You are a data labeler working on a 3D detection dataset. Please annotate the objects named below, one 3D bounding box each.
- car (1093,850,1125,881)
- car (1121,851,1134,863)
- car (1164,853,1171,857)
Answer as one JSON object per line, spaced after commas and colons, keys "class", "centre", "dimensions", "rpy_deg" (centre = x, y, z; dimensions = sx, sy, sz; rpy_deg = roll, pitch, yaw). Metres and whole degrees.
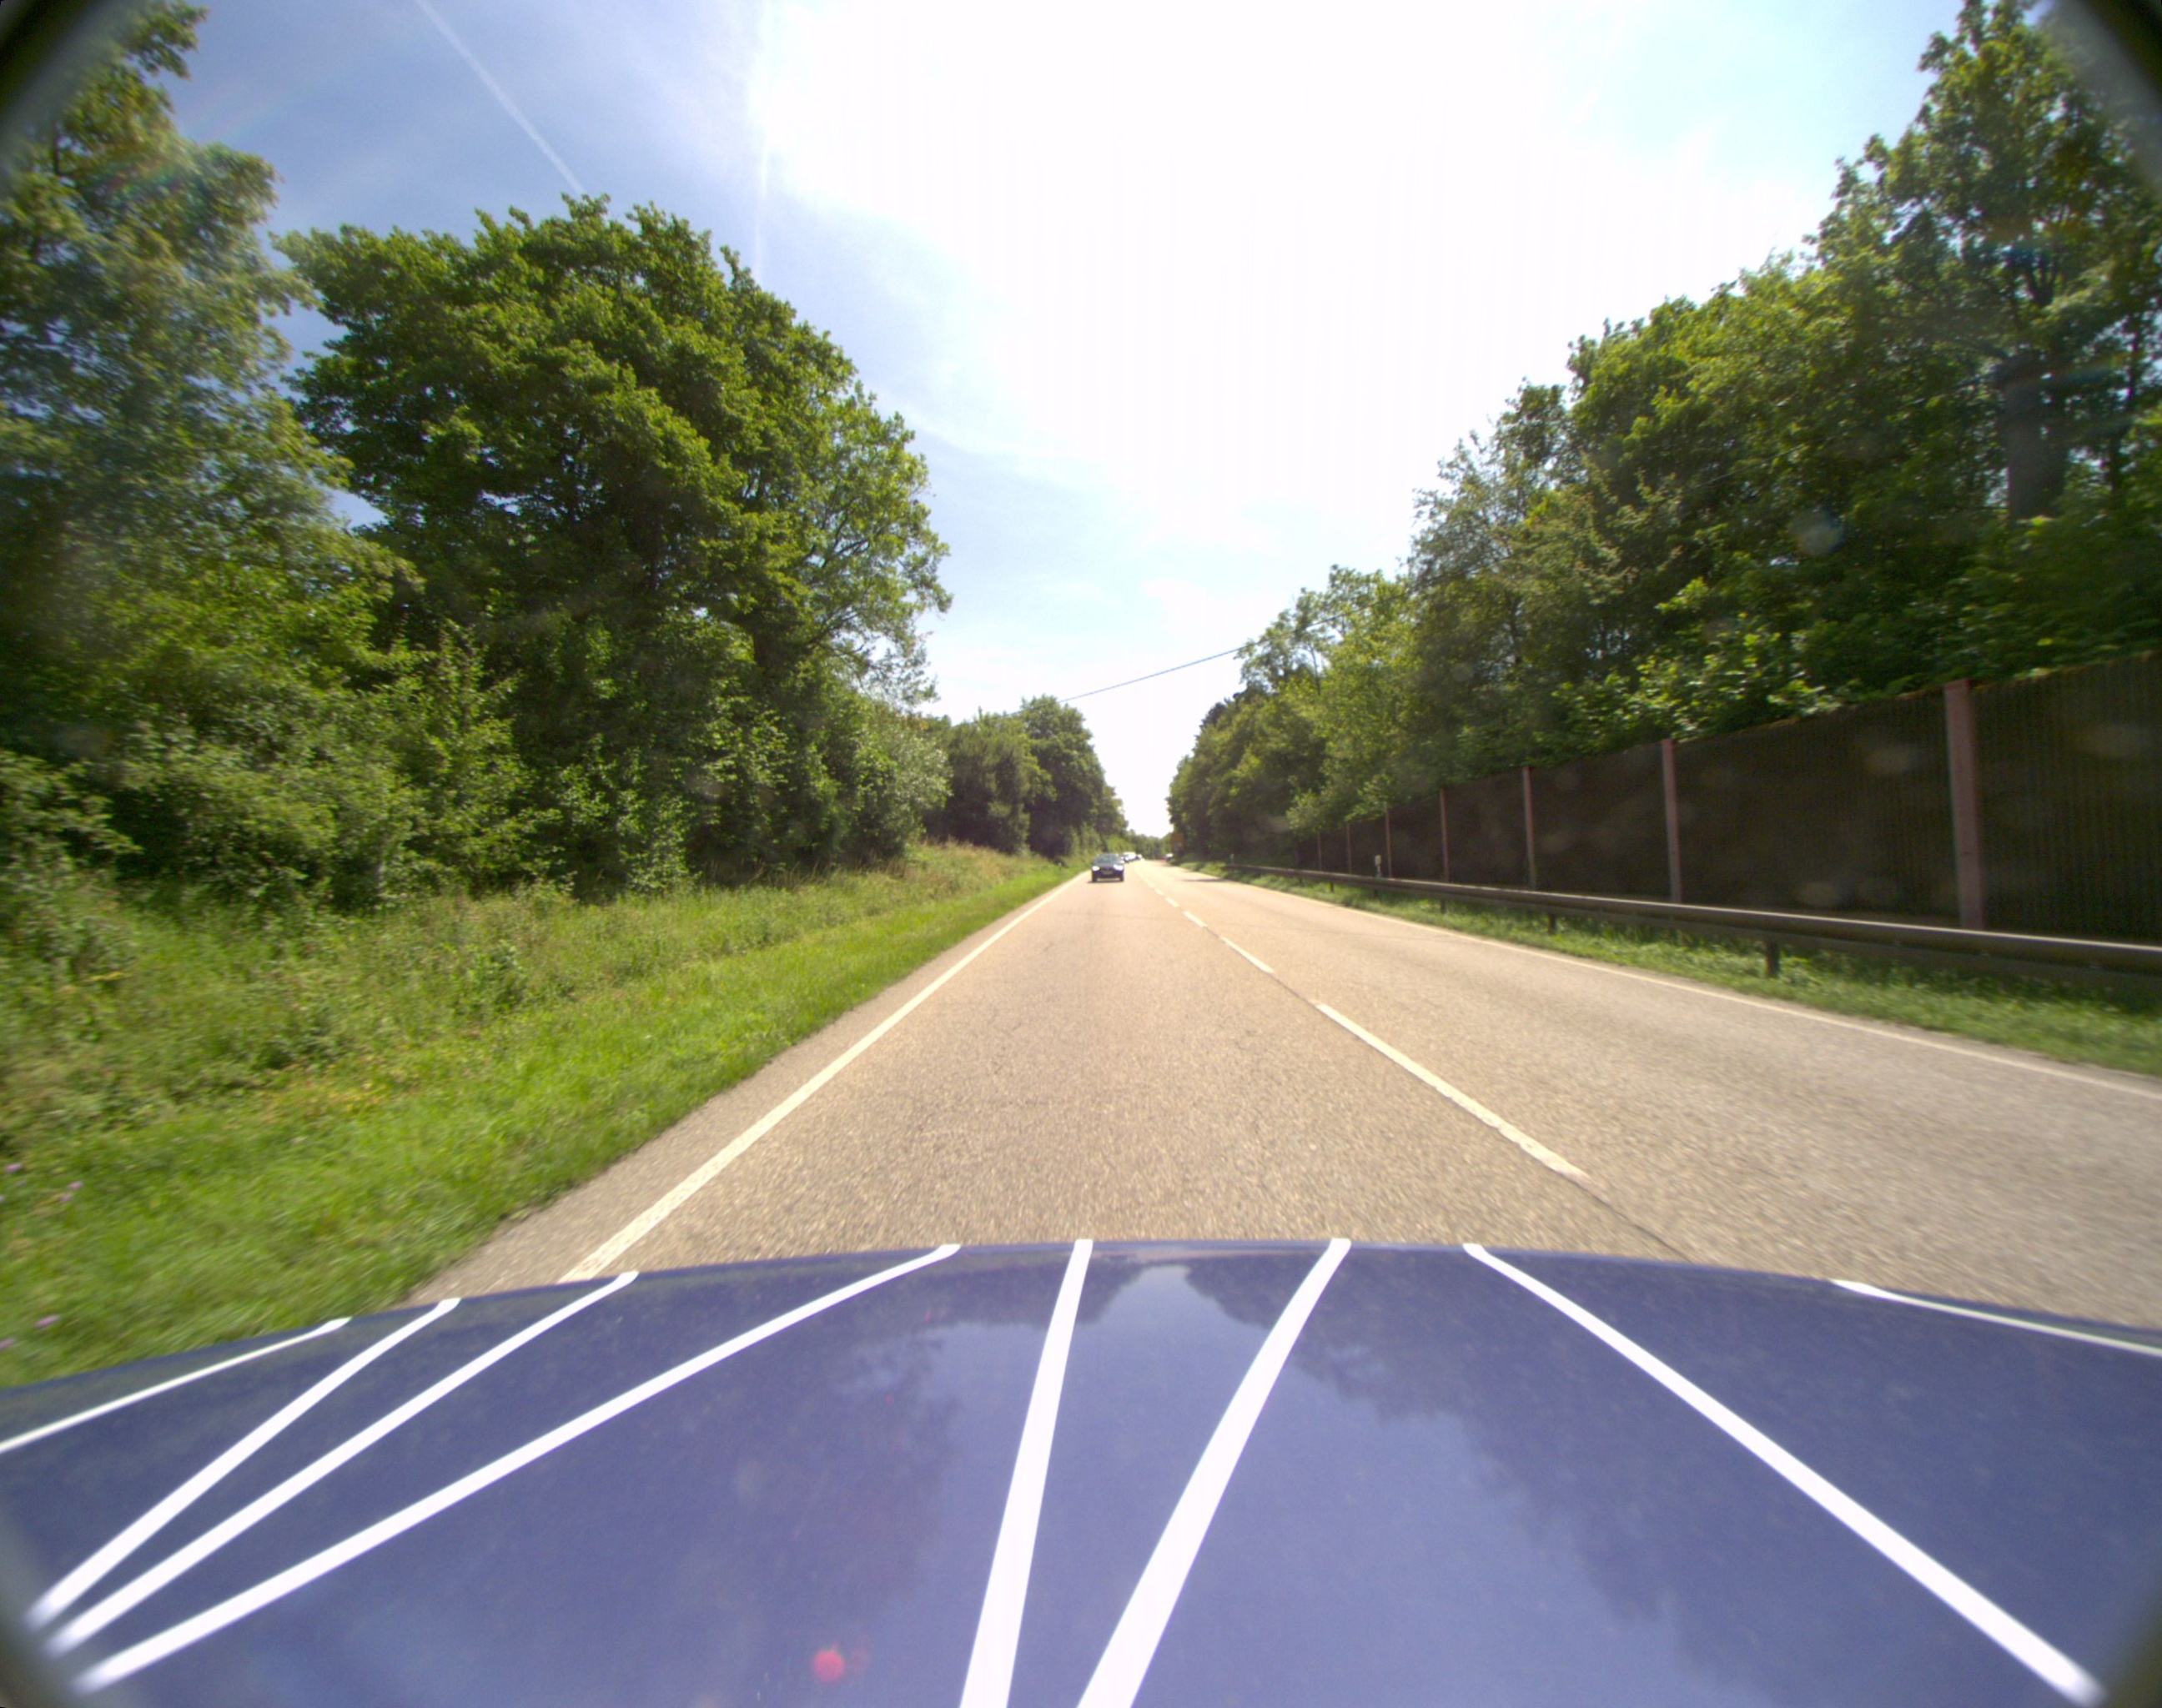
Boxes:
{"class": "car", "centre": [1.550, 0.608, 41.672], "dimensions": [1.626, 1.535, 4.001], "rpy_deg": [-2, 0, 2]}
{"class": "car", "centre": [6.801, 0.471, 111.372], "dimensions": [1.770, 1.673, 4.002], "rpy_deg": [-4, -1, 5]}
{"class": "car", "centre": [29.875, 0.313, 262.770], "dimensions": [1.807, 1.444, 4.391], "rpy_deg": [-2, -1, 11]}
